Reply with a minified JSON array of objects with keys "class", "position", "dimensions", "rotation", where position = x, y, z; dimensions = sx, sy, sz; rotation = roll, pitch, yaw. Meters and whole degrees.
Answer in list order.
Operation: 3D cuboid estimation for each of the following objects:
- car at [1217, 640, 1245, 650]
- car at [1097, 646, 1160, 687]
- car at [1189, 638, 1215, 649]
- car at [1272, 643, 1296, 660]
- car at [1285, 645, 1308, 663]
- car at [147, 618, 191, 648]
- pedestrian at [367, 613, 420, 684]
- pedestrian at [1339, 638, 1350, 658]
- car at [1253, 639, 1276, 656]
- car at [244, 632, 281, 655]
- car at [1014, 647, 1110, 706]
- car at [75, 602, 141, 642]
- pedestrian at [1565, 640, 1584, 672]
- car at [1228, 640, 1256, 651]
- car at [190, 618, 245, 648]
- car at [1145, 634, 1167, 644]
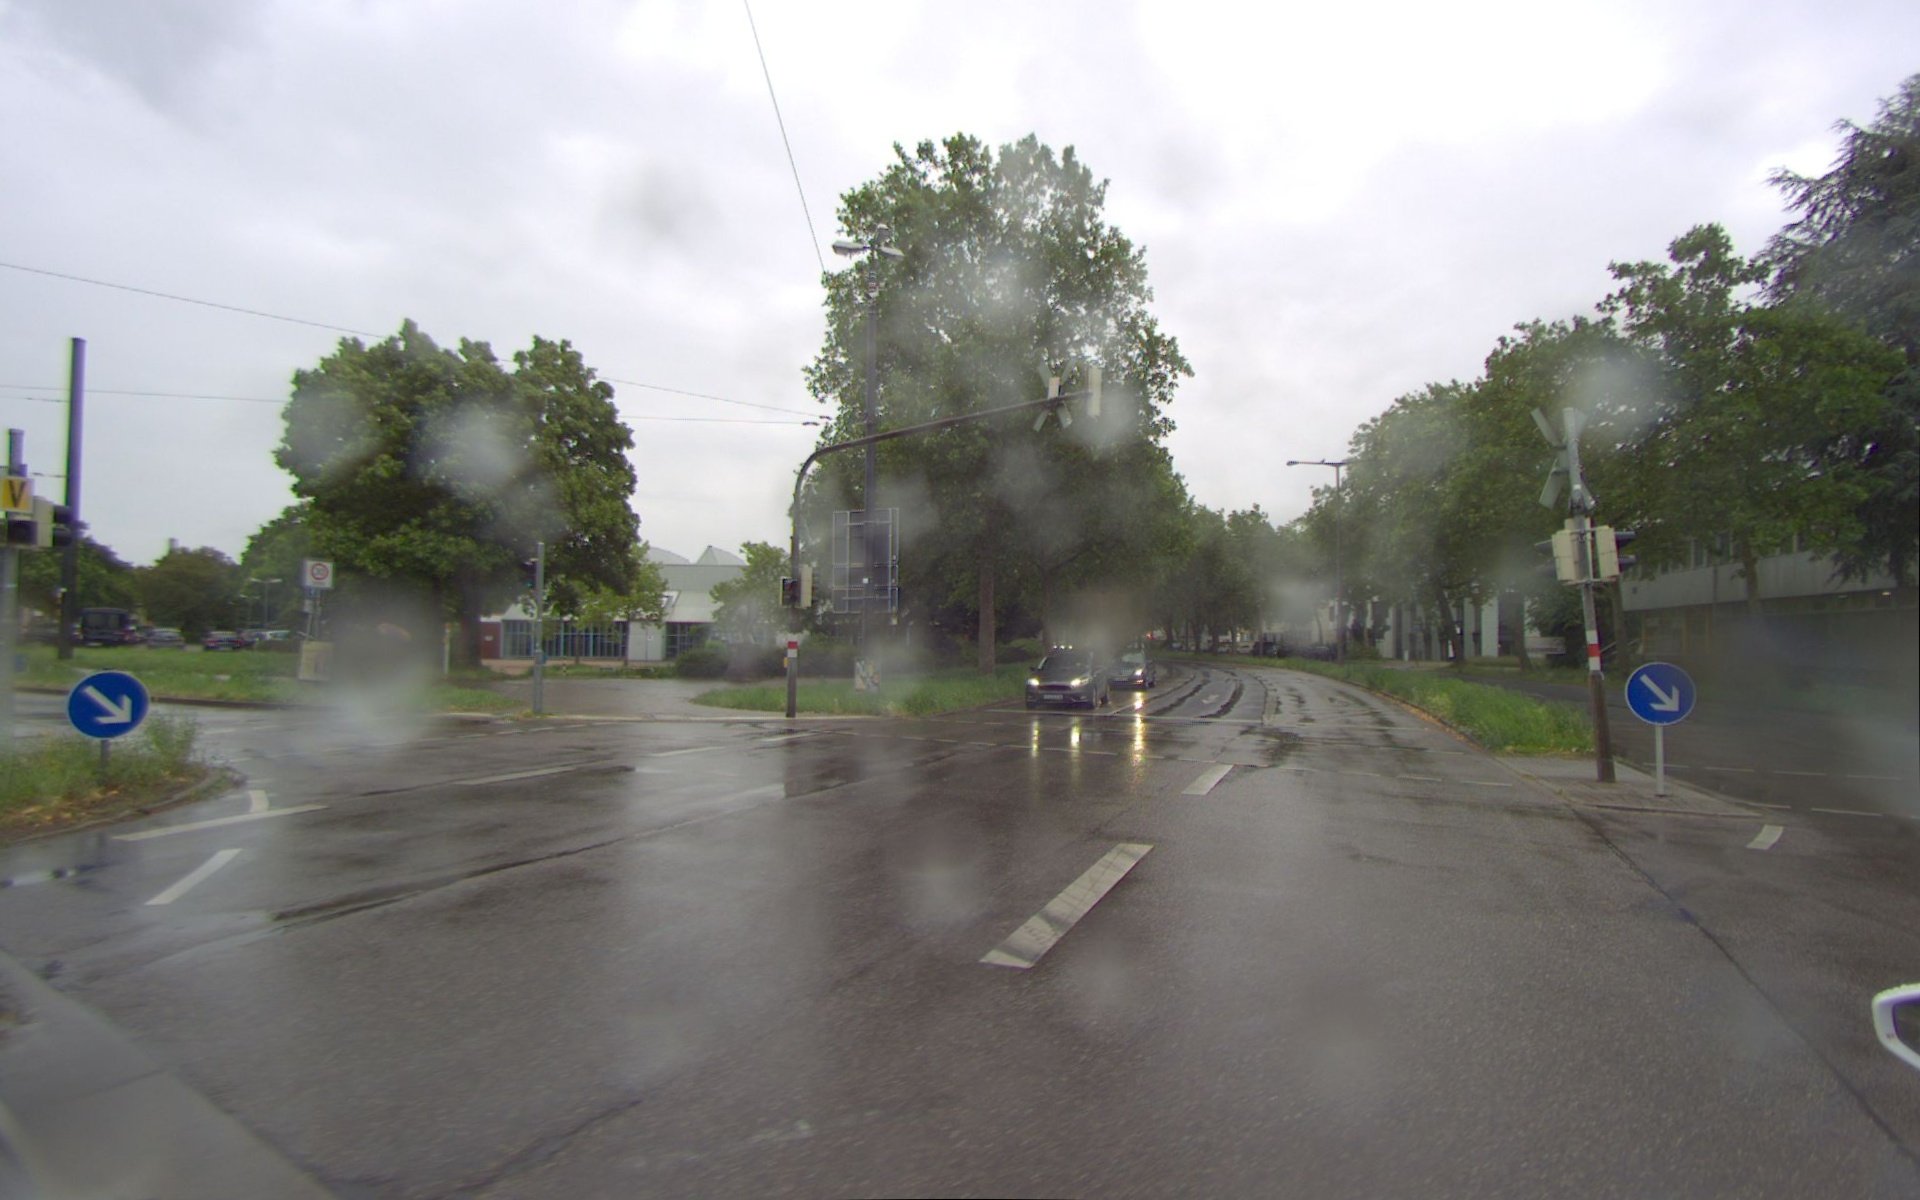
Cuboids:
[{"class":"car","position":[42.021,7.032,155.743],"dimensions":[3.808,1.513,1.886],"rotation":[0,-1,-7]},{"class":"car","position":[6.468,2.510,38.120],"dimensions":[1.769,1.425,4.463],"rotation":[0,-4,17]},{"class":"car","position":[41.036,7.368,170.415],"dimensions":[3.928,1.855,1.997],"rotation":[0,-1,-10]},{"class":"car","position":[39.203,6.209,121.715],"dimensions":[1.960,1.806,4.002],"rotation":[0,-1,5]},{"class":"car","position":[38.365,6.163,114.617],"dimensions":[1.959,1.806,4.003],"rotation":[0,-1,10]},{"class":"car","position":[-43.723,1.784,55.607],"dimensions":[1.740,1.551,4.799],"rotation":[1,-1,-36]},{"class":"pedestrian","position":[-16.474,1.399,29.230],"dimensions":[0.989,2.017,0.953],"rotation":[0,-1,25]},{"class":"pedestrian","position":[38.083,4.756,99.449],"dimensions":[0.848,1.976,0.702],"rotation":[1,-1,-36]},{"class":"car","position":[40.436,6.238,133.457],"dimensions":[2.086,2.116,4.001],"rotation":[0,-1,3]},{"class":"car","position":[-52.290,3.268,75.293],"dimensions":[1.983,1.593,3.955],"rotation":[1,-1,-39]},{"class":"car","position":[2.783,1.974,26.563],"dimensions":[1.769,1.420,4.316],"rotation":[-2,-3,16]},{"class":"car","position":[-45.264,1.158,53.472],"dimensions":[2.291,2.040,5.065],"rotation":[1,-1,-36]},{"class":"pedestrian","position":[33.510,3.029,54.783],"dimensions":[0.659,1.690,0.825],"rotation":[0,-1,9]},{"class":"car","position":[42.583,6.898,151.716],"dimensions":[3.804,1.673,1.887],"rotation":[0,-1,-2]},{"class":"car","position":[-41.859,1.825,56.710],"dimensions":[2.039,1.593,4.973],"rotation":[1,-1,-32]},{"class":"car","position":[39.100,7.744,200.478],"dimensions":[3.925,1.844,1.998],"rotation":[0,-1,-7]}]
